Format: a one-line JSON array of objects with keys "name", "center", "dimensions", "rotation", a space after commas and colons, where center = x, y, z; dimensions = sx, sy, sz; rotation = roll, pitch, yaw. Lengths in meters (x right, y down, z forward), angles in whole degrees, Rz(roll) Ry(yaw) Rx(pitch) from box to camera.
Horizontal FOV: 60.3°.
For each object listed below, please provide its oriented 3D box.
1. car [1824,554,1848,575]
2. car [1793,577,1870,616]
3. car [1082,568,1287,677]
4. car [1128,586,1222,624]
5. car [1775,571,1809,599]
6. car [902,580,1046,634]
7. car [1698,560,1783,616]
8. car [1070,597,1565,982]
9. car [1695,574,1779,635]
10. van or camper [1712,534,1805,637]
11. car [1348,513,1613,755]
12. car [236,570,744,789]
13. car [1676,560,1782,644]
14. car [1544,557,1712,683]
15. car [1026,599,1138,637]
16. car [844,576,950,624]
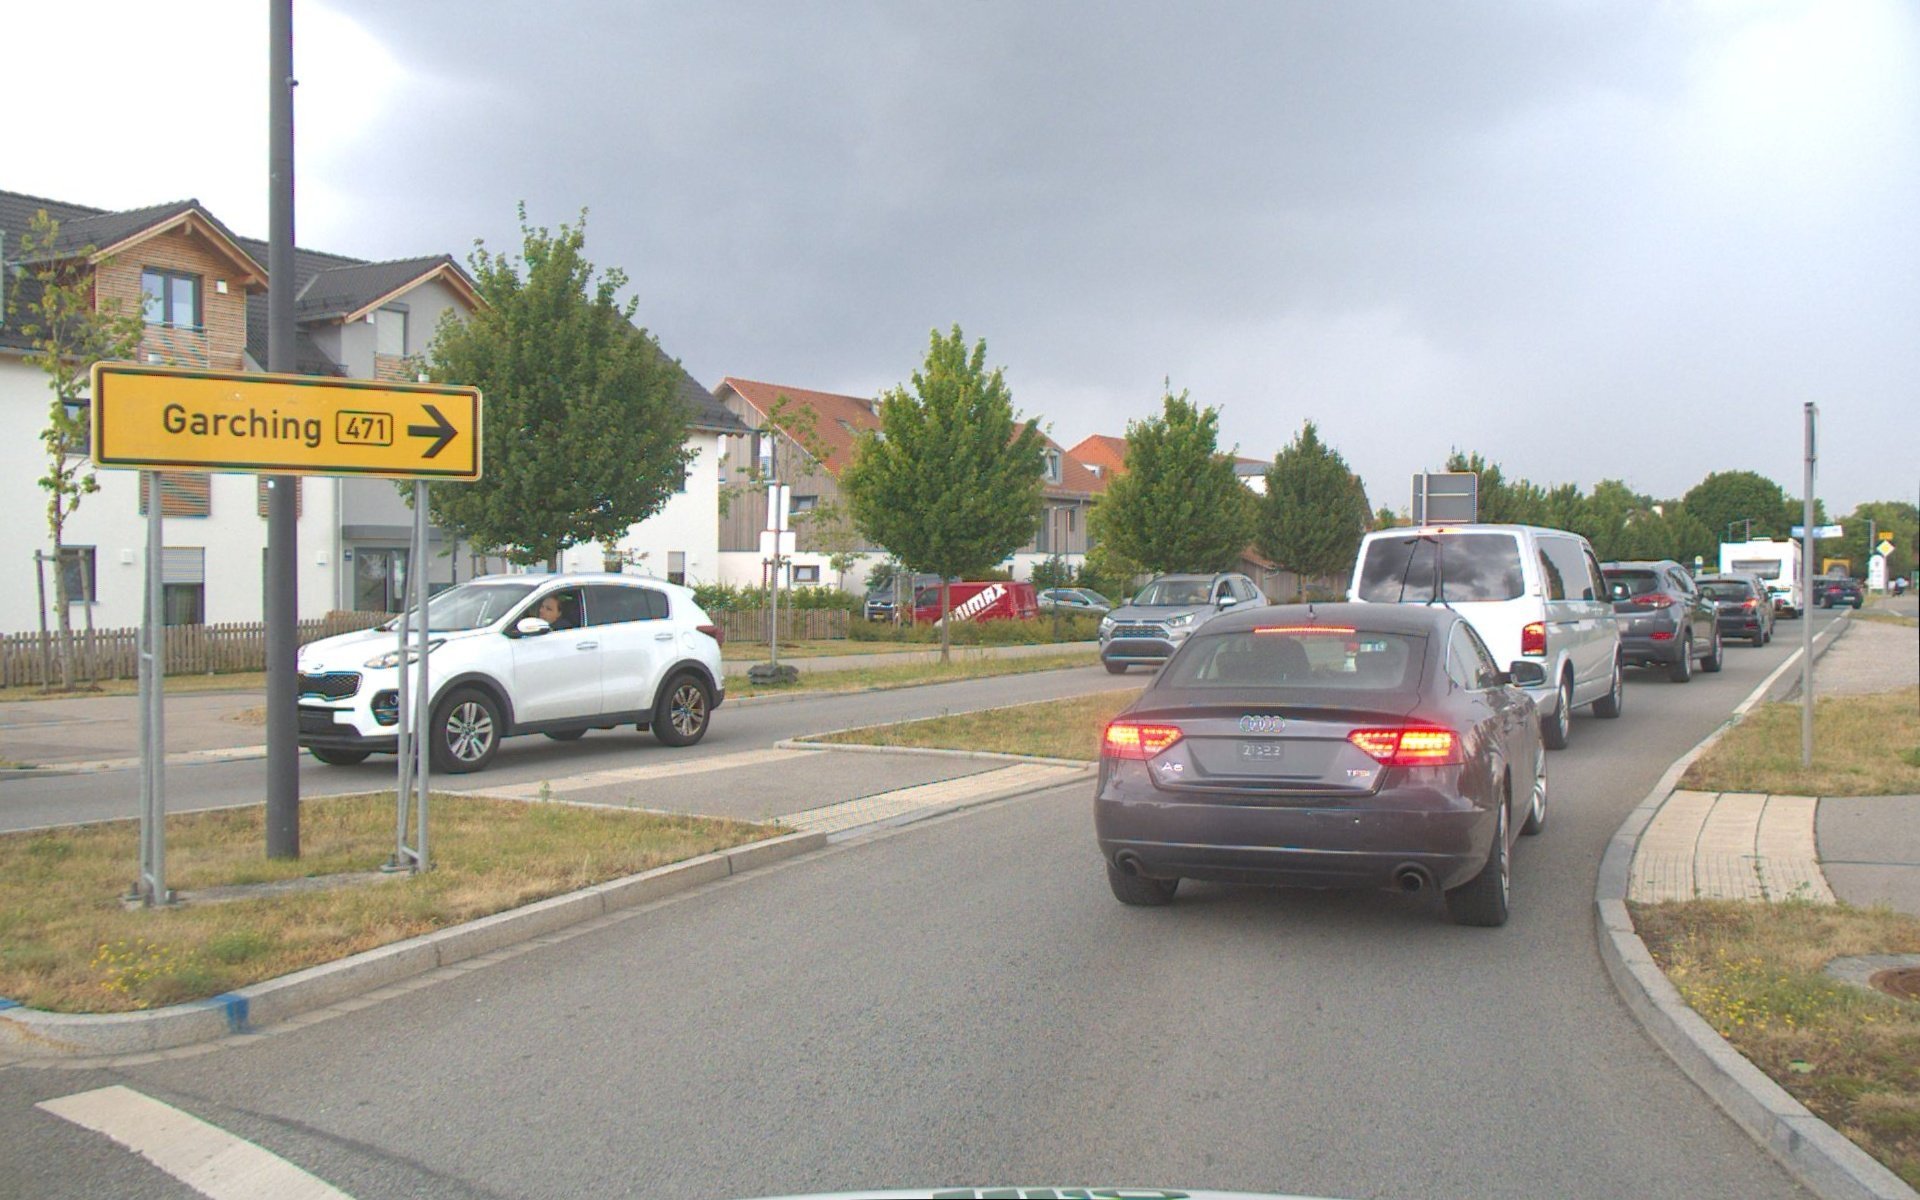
[{"name": "car", "center": [98.405, -4.001, 185.742], "dimensions": [1.959, 2.250, 3.988], "rotation": [1, 1, 34]}, {"name": "car", "center": [42.453, -0.178, 80.649], "dimensions": [1.581, 1.825, 3.999], "rotation": [0, 1, -2]}, {"name": "car", "center": [4.002, 0.343, 28.817], "dimensions": [1.956, 1.733, 4.626], "rotation": [1, 1, 30]}, {"name": "car", "center": [9.210, 0.195, 70.898], "dimensions": [3.657, 1.507, 1.685], "rotation": [1, 1, 27]}, {"name": "car", "center": [59.206, -1.093, 117.662], "dimensions": [1.956, 1.932, 3.994], "rotation": [1, 1, 29]}, {"name": "car", "center": [0.446, 0.204, 55.043], "dimensions": [4.450, 1.709, 1.994], "rotation": [1, 1, 33]}, {"name": "car", "center": [23.688, -0.365, 50.148], "dimensions": [1.957, 1.624, 3.992], "rotation": [1, 1, 31]}, {"name": "car", "center": [2.068, 0.709, 8.493], "dimensions": [1.748, 1.416, 4.131], "rotation": [1, 1, 23]}, {"name": "car", "center": [19.464, 0.090, 41.361], "dimensions": [1.742, 1.459, 3.797], "rotation": [0, 0, 28]}, {"name": "van or camper", "center": [28.054, -0.504, 57.957], "dimensions": [2.575, 3.381, 6.810], "rotation": [1, 1, 29]}, {"name": "car", "center": [5.033, 0.252, 15.644], "dimensions": [1.830, 1.968, 3.997], "rotation": [1, 1, 26]}, {"name": "car", "center": [-4.083, 0.592, 15.111], "dimensions": [1.678, 1.654, 4.438], "rotation": [-1, 1, 33]}, {"name": "car", "center": [16.215, 0.023, 34.779], "dimensions": [1.743, 1.646, 3.993], "rotation": [0, 0, 29]}, {"name": "car", "center": [9.752, 0.238, 23.975], "dimensions": [1.743, 1.646, 3.993], "rotation": [1, 1, 29]}, {"name": "car", "center": [4.603, 0.660, 62.555], "dimensions": [3.839, 1.338, 1.840], "rotation": [1, 1, 28]}, {"name": "car", "center": [-2.443, -0.025, 65.245], "dimensions": [1.959, 1.803, 4.451], "rotation": [1, 1, 34]}]
